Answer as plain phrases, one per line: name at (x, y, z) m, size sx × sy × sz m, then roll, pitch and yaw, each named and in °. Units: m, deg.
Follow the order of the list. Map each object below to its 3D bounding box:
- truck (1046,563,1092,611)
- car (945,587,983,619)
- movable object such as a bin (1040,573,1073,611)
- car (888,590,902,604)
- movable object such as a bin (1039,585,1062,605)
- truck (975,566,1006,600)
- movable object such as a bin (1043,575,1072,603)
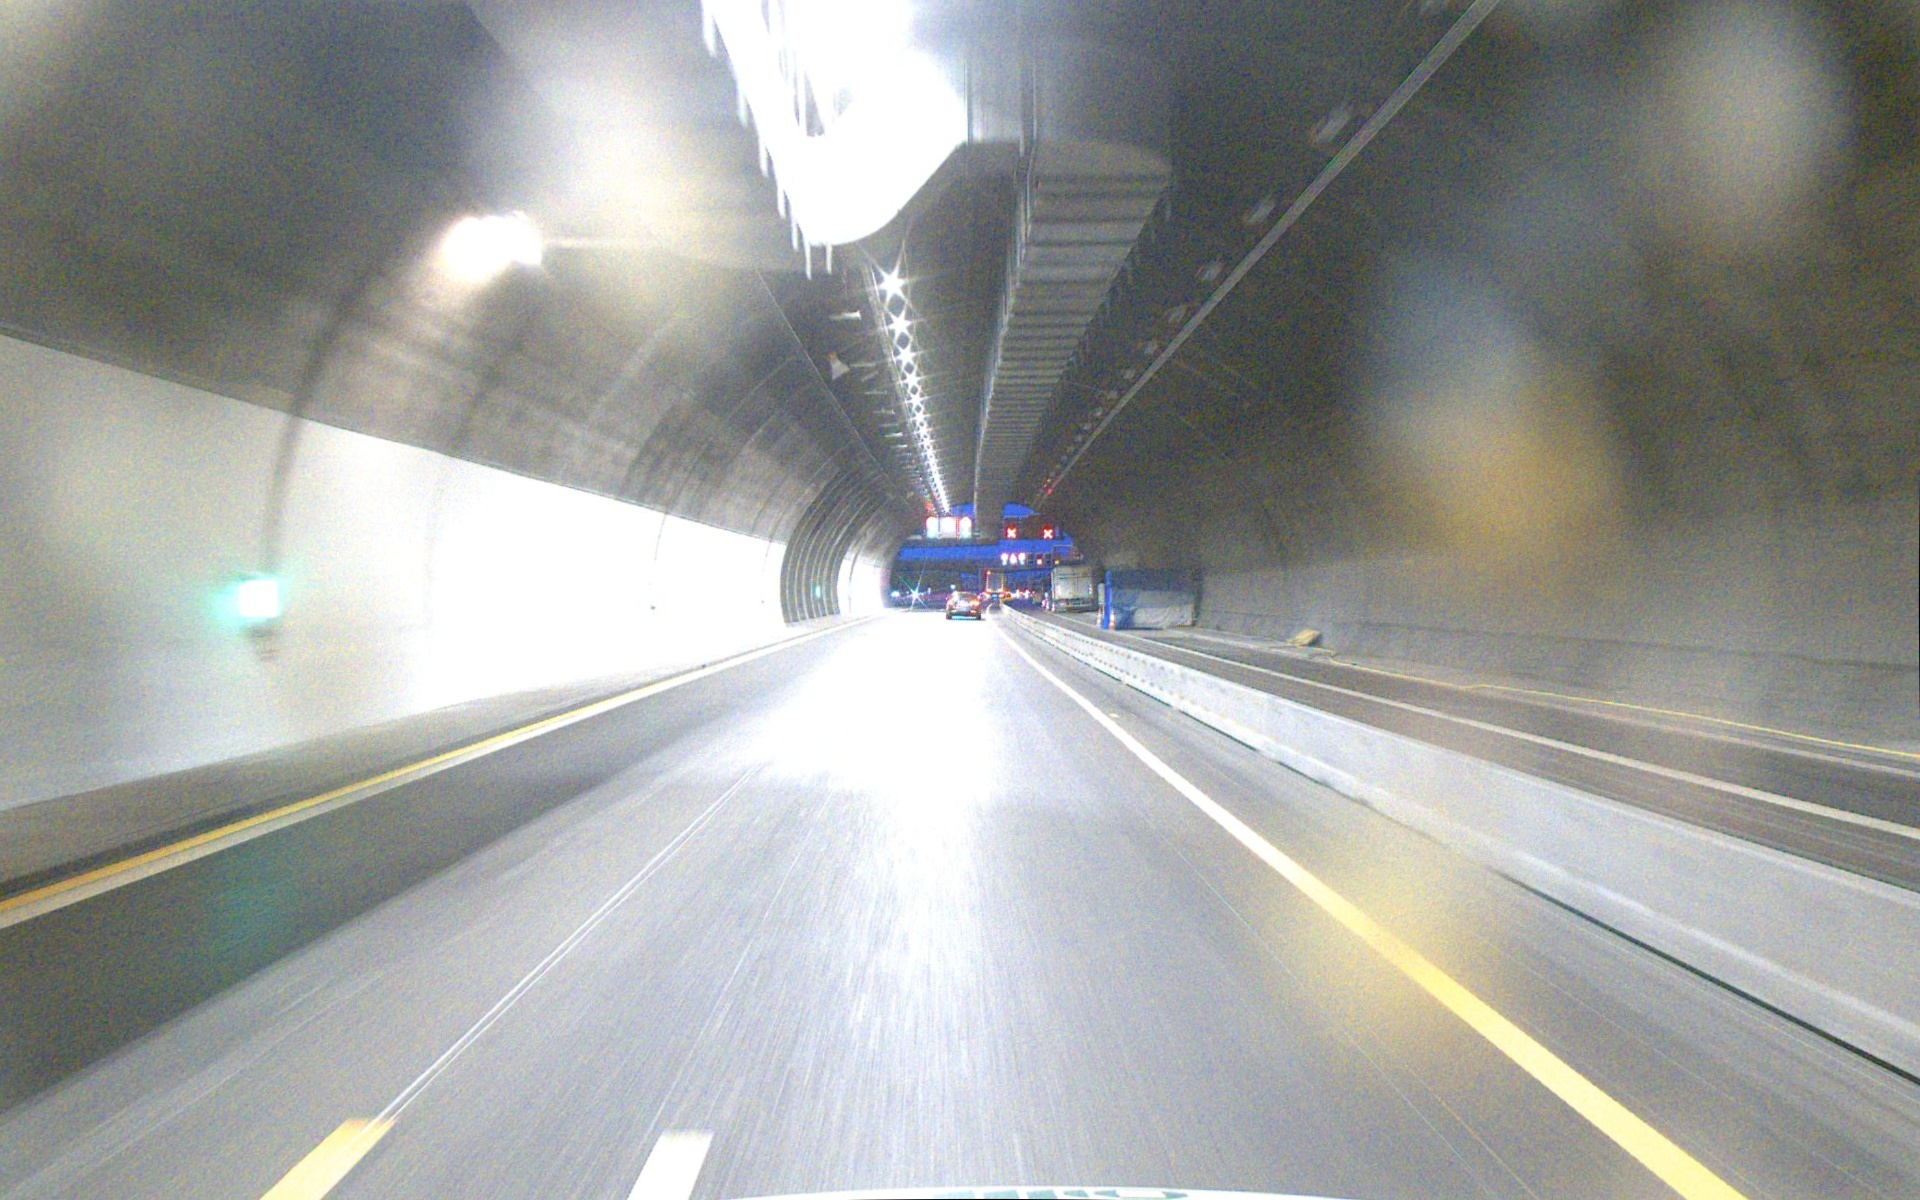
truck at (7.814, -0.893, 119.478) m, size 2.833 × 3.329 × 8.401 m, roll 0°, pitch 0°, yaw 0°
car at (0.171, 0.158, 87.589) m, size 1.850 × 1.635 × 3.998 m, roll 0°, pitch 0°, yaw -3°
movable object such as a bin at (7.462, -0.585, 128.329) m, size 2.192 × 2.843 × 7.233 m, roll 0°, pitch 0°, yaw 0°
car at (-10.199, -0.482, 260.010) m, size 1.952 × 2.049 × 4.000 m, roll 0°, pitch 0°, yaw 0°
movable object such as a bin at (8.347, -0.480, 152.505) m, size 1.938 × 1.847 × 3.836 m, roll 0°, pitch 0°, yaw 0°
truck at (4.641, -2.476, 248.946) m, size 4.451 × 5.074 × 9.601 m, roll 0°, pitch 0°, yaw 2°
movable object such as a bin at (9.741, -1.067, 165.190) m, size 2.680 × 2.802 × 7.051 m, roll 0°, pitch 0°, yaw 2°
